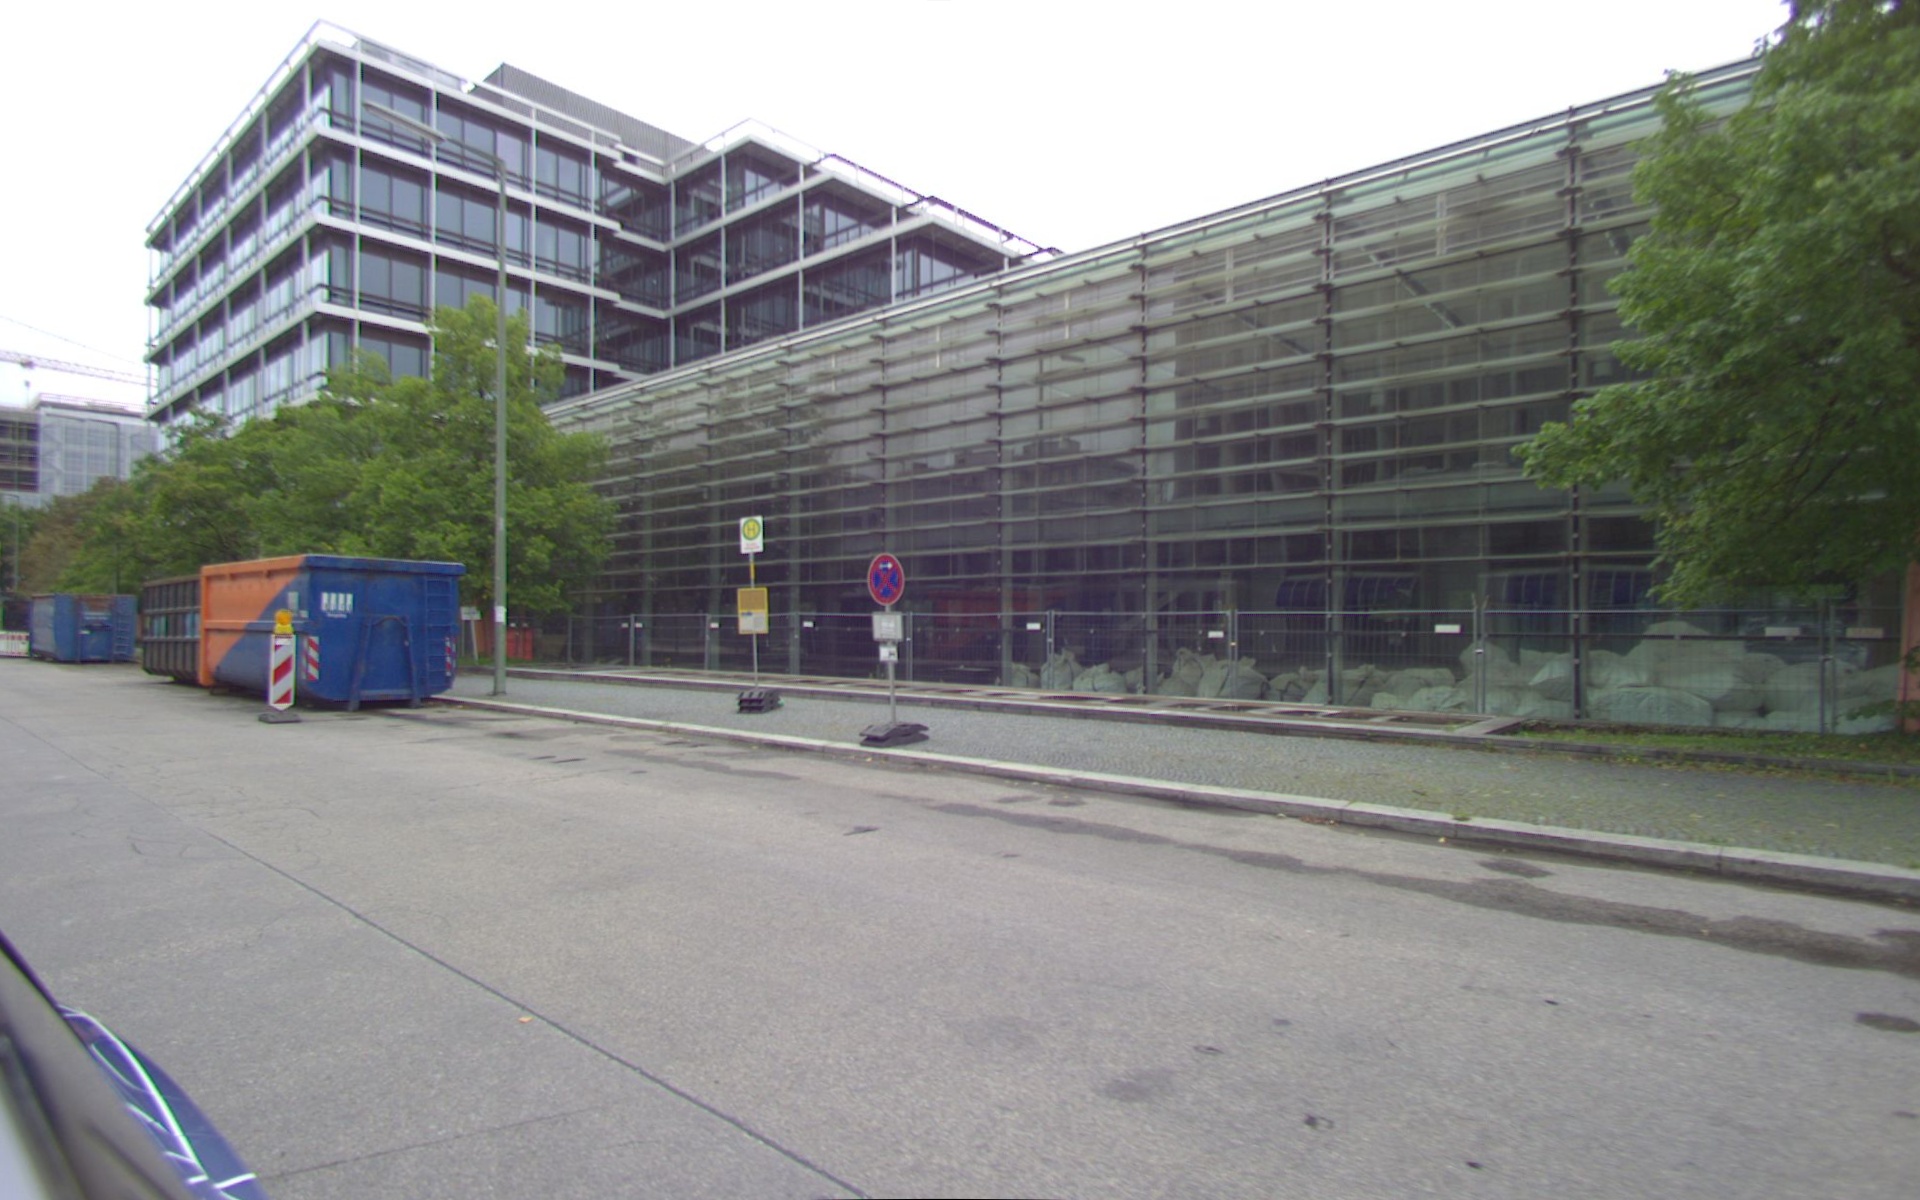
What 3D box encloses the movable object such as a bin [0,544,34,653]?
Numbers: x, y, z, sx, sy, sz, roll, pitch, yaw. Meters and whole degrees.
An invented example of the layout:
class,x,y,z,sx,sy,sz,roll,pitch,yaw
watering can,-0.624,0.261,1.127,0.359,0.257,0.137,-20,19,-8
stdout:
class,x,y,z,sx,sy,sz,roll,pitch,yaw
movable object such as a bin,-59.262,0.004,61.974,8.338,6.370,3.198,-2,-2,44
